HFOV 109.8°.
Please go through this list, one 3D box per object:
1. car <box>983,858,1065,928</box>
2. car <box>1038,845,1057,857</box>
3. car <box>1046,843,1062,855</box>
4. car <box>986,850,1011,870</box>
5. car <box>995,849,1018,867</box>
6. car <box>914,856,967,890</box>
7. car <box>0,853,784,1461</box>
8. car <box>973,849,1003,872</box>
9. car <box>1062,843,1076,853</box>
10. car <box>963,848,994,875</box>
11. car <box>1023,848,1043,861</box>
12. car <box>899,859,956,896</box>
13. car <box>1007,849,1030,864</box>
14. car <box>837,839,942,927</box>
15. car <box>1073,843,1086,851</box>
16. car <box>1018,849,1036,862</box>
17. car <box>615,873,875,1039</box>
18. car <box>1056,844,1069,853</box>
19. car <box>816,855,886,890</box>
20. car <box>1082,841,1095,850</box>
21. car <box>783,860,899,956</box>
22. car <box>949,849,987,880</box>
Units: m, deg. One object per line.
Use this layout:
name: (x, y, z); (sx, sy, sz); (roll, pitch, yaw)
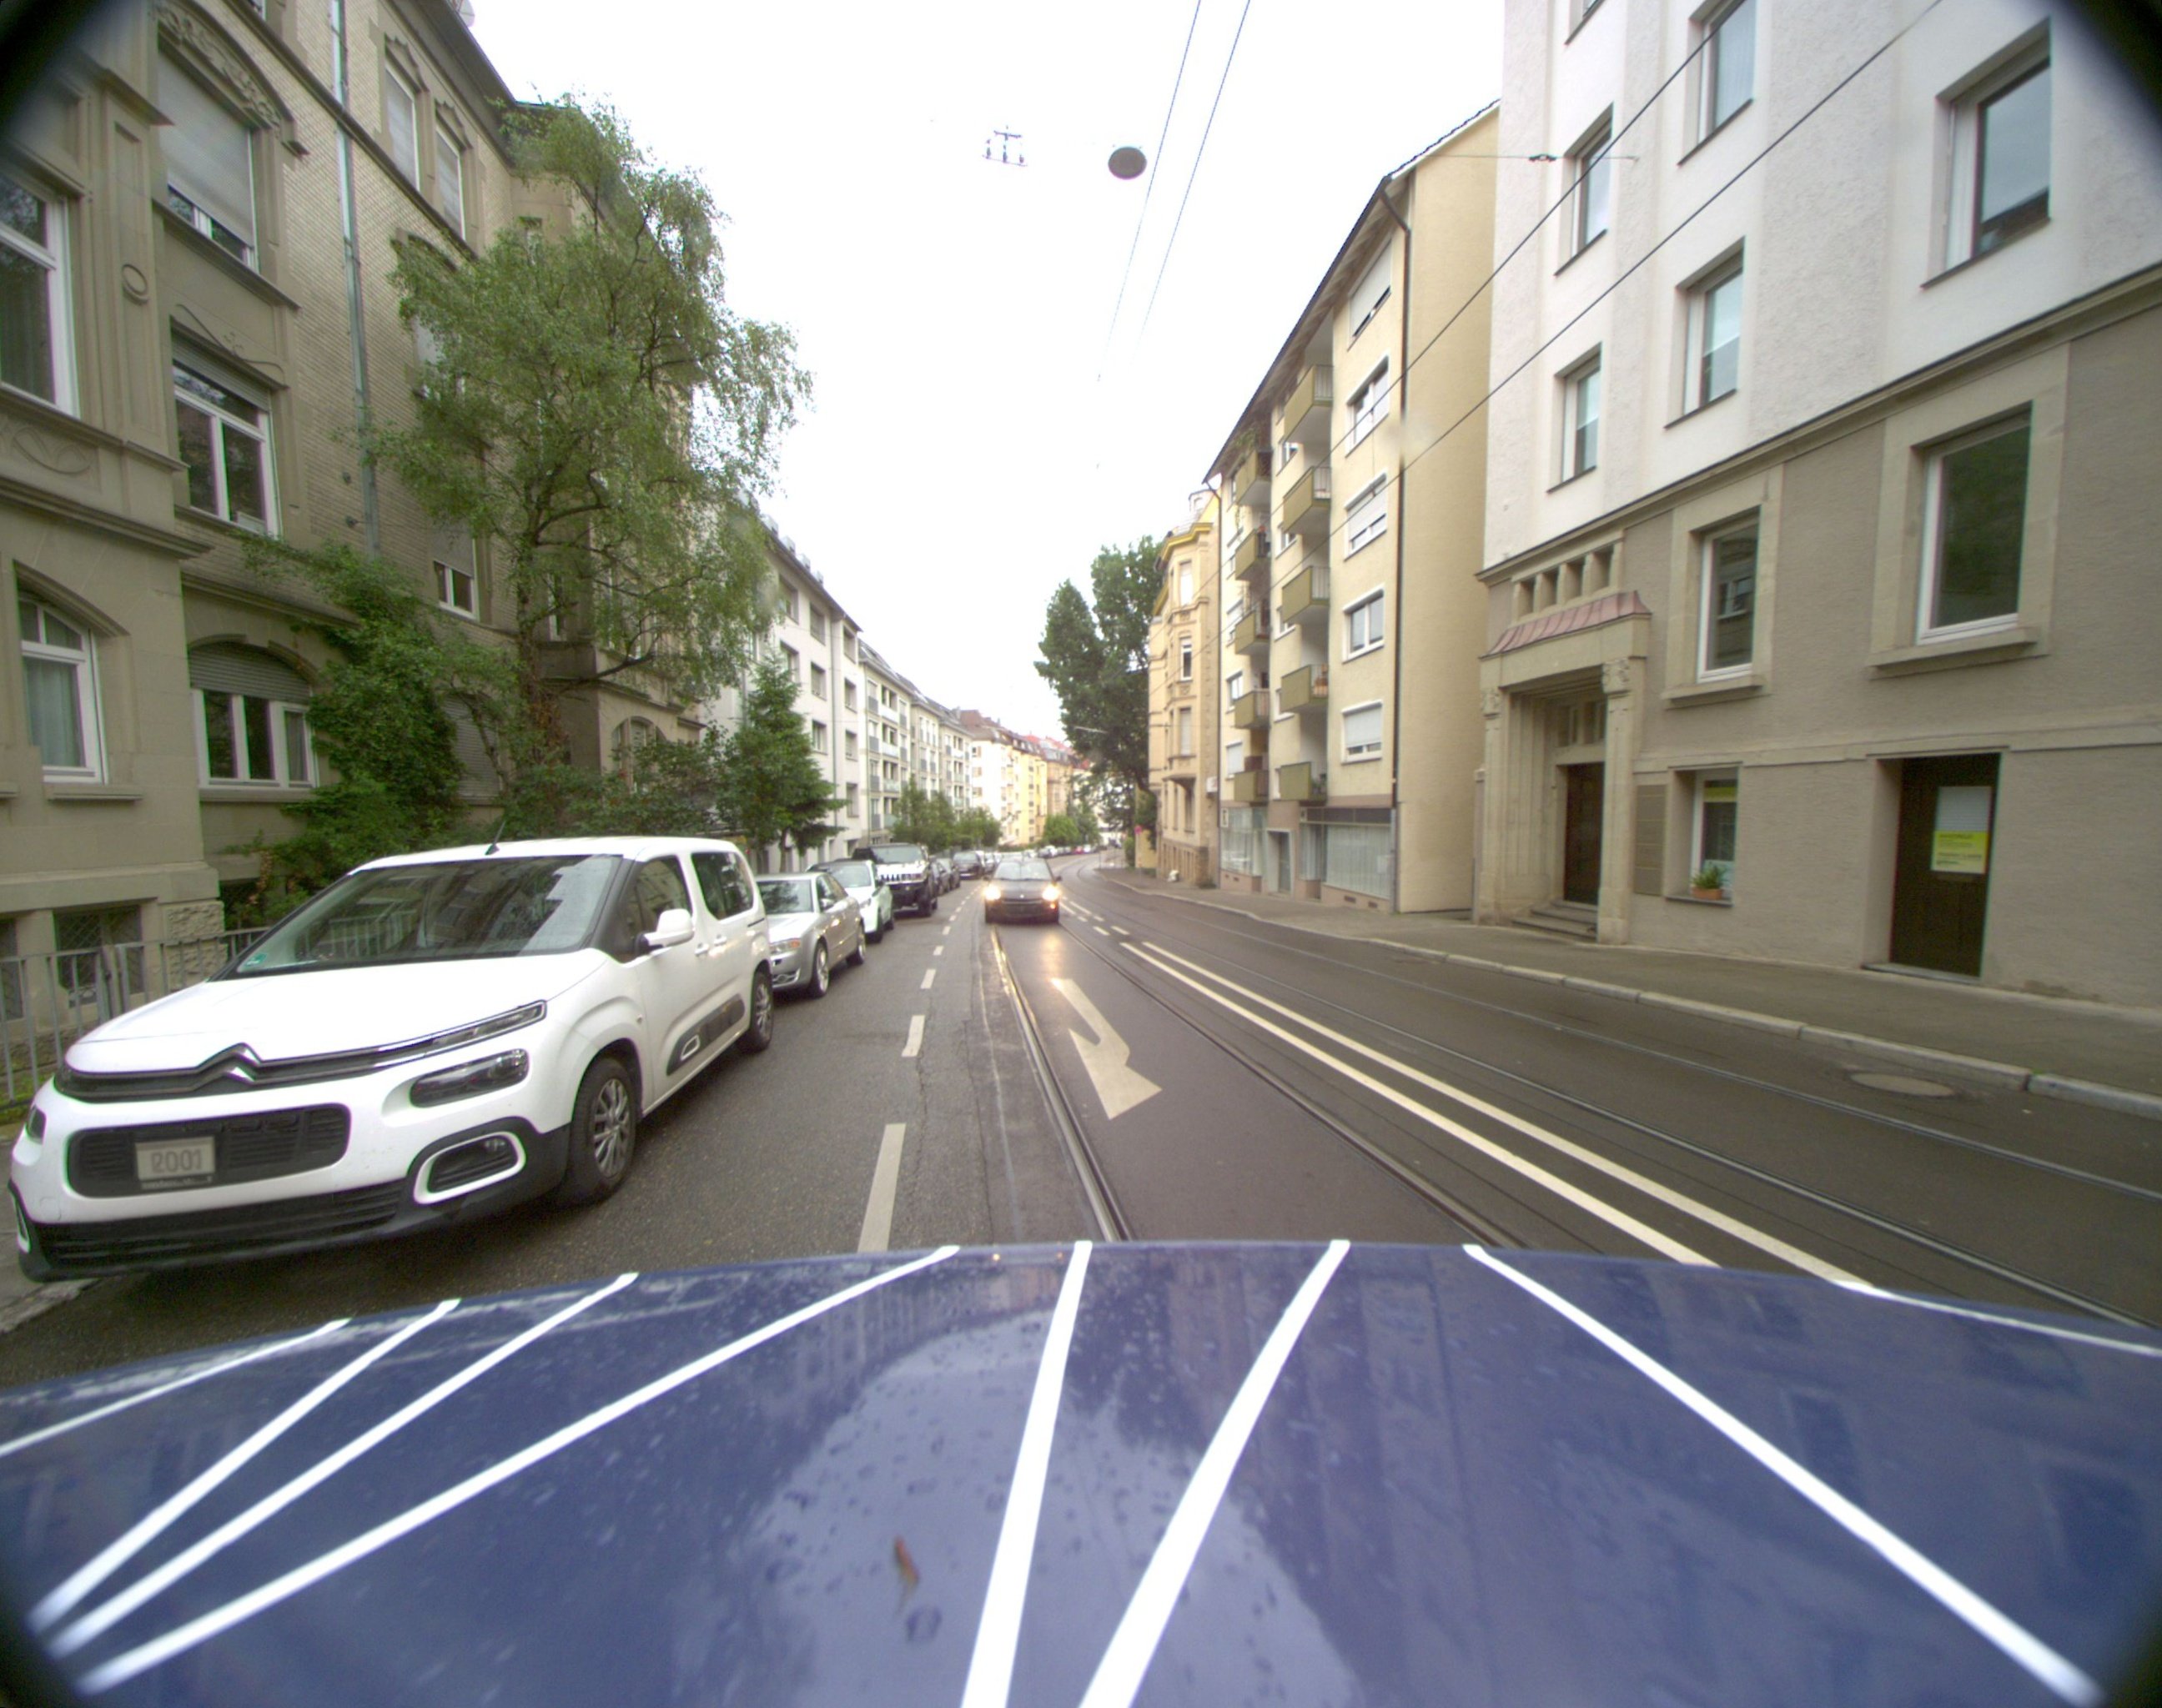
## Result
car: (-1.362, 0.851, 18.378); (1.740, 1.445, 3.998); (-1, 0, -4)
car: (-4.565, -0.461, 104.522); (1.797, 1.444, 4.104); (-2, 2, 9)
car: (-3.904, -0.687, 109.745); (1.798, 1.613, 3.868); (-2, 2, 6)
car: (-7.194, 0.457, 66.346); (1.837, 1.618, 4.662); (-1, 1, -2)
car: (-7.025, 0.396, 71.925); (1.981, 1.576, 4.563); (-1, 1, -5)
car: (-6.539, 0.837, 35.832); (1.799, 1.429, 4.609); (-2, 1, -3)
car: (-3.285, 0.921, 4.524); (1.803, 1.755, 4.459); (-3, 1, -9)
car: (-7.389, 0.503, 60.755); (1.837, 1.647, 4.685); (-1, 1, -1)
car: (-1.921, -0.993, 123.931); (1.658, 1.360, 3.637); (-2, 2, 8)
car: (-7.373, 0.496, 54.833); (1.783, 1.785, 4.469); (-1, 1, -3)
car: (-5.904, 0.036, 93.960); (1.721, 1.459, 4.391); (-1, 1, 6)
car: (-6.219, 0.912, 31.106); (1.683, 1.330, 3.881); (-2, 1, -3)
car: (-6.658, 0.223, 81.627); (1.862, 1.507, 4.789); (-1, 1, 2)
car: (-5.108, 0.673, 21.020); (2.135, 2.002, 5.346); (-3, 1, -8)
car: (-0.270, -1.221, 131.133); (1.556, 1.360, 3.126); (-1, 2, 13)
car: (-6.343, 0.144, 88.944); (1.600, 1.416, 3.515); (-1, 1, 4)
car: (-3.932, 1.064, 9.797); (1.754, 1.392, 4.475); (-3, 1, -7)
car: (-2.835, -0.867, 118.810); (1.590, 1.434, 3.477); (-2, 2, 6)
car: (-10.653, 0.835, 35.545); (1.817, 1.418, 4.153); (-3, 1, 2)
car: (1.411, -1.542, 139.774); (1.612, 1.434, 3.690); (-1, 2, 13)
car: (-4.608, 0.956, 15.044); (1.565, 1.537, 3.581); (-3, 1, -9)
car: (-7.222, 0.611, 49.089); (1.948, 1.785, 4.818); (-2, 1, -4)
